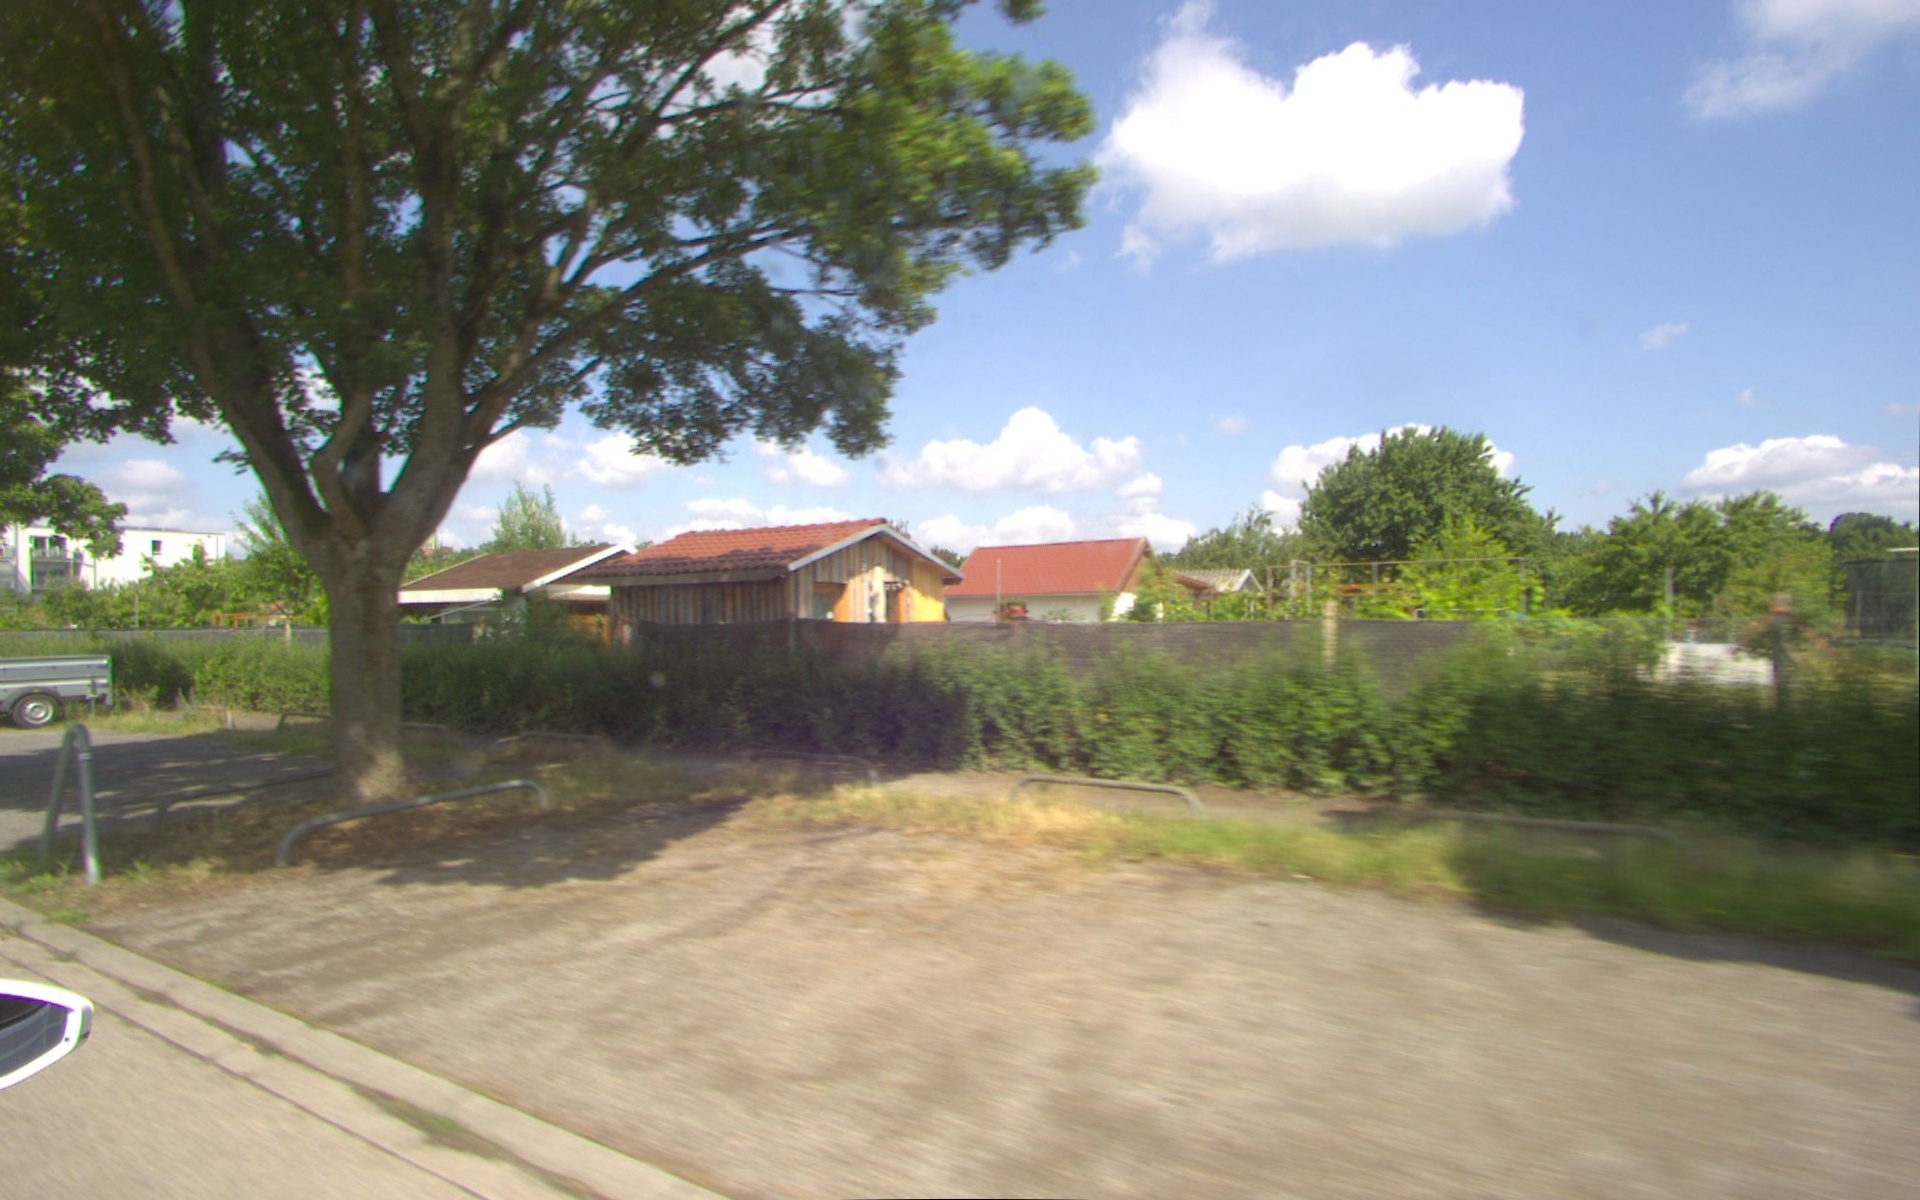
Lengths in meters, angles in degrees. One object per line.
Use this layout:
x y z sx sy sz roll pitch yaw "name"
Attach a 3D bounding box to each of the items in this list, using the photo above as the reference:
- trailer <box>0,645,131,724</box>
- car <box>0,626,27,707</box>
-15.059 1.280 15.410 1.972 1.157 3.095 -2 -3 32 "trailer"
-19.425 1.205 17.228 1.970 1.485 4.574 -1 -1 29 "car"
